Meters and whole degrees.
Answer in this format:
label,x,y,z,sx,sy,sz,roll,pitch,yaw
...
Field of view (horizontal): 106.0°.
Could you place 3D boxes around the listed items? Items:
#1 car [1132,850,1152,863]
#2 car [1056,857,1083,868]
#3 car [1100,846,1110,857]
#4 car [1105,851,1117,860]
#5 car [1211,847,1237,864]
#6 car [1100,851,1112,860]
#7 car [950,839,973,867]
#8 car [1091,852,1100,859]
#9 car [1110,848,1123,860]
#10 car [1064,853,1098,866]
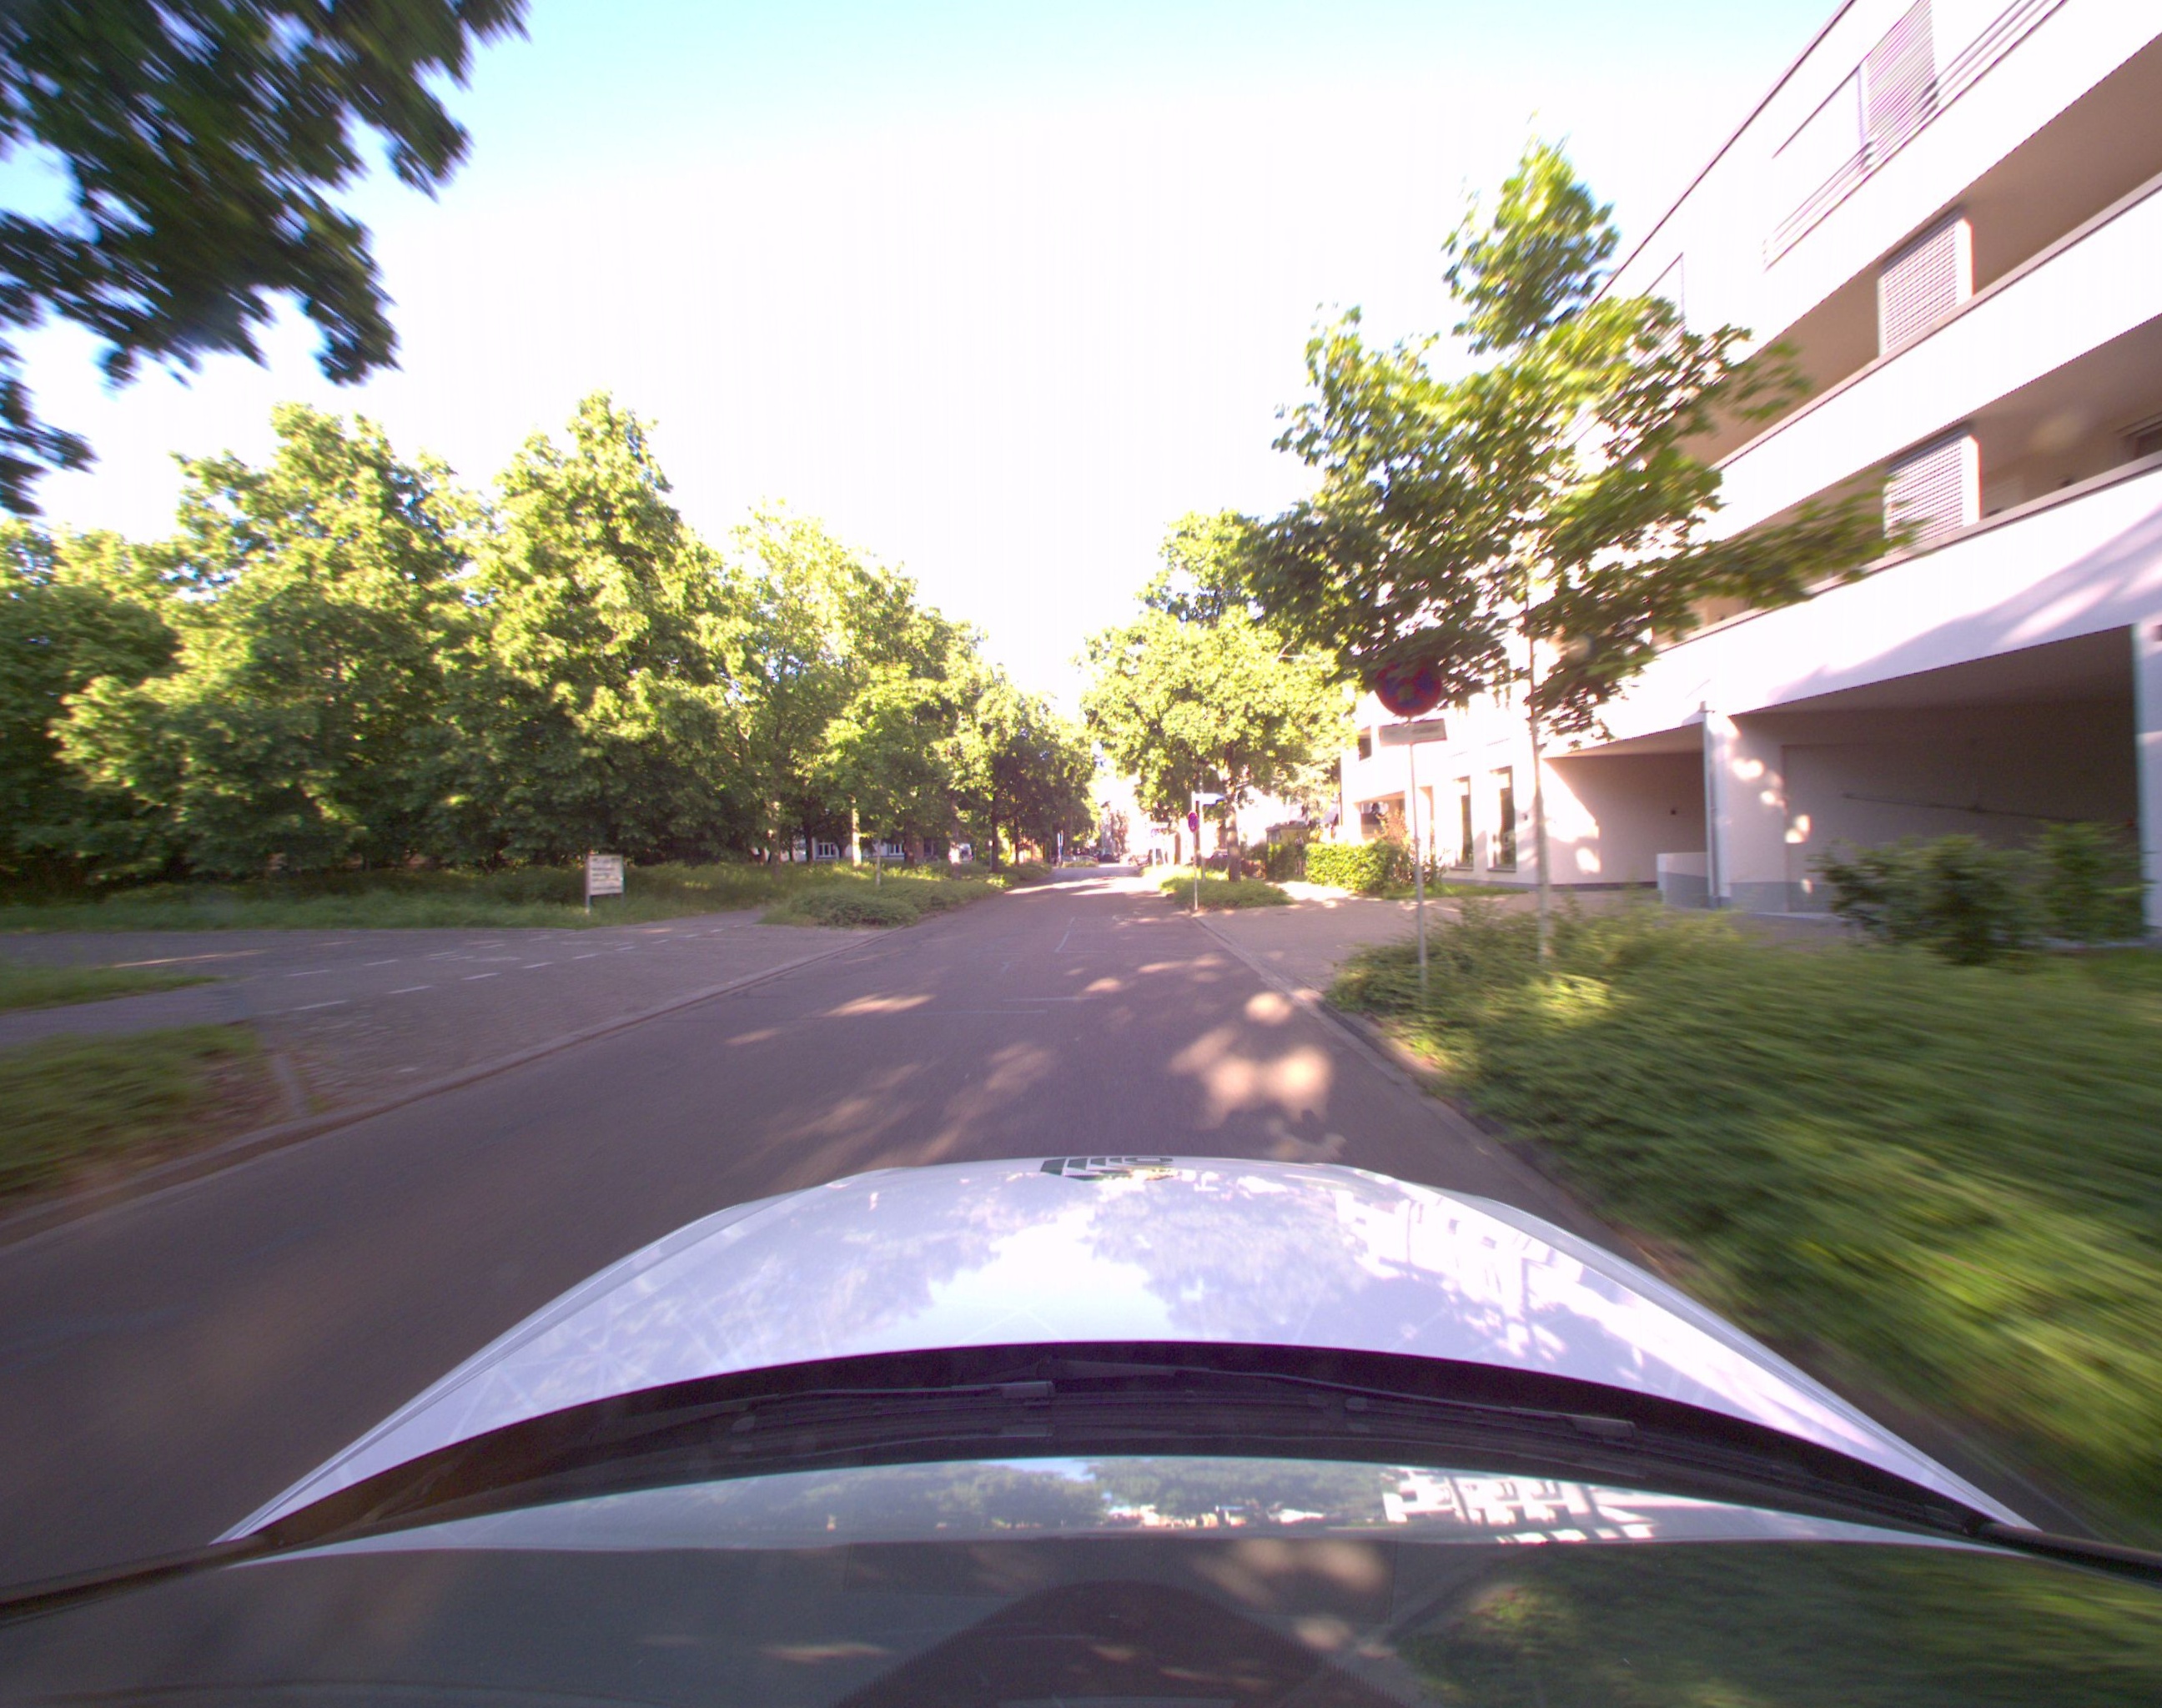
label,x,y,z,sx,sy,sz,roll,pitch,yaw
car,7.407,0.292,99.600,1.808,1.501,3.993,-2,0,-5
car,-1.602,1.115,110.215,3.583,1.510,1.497,0,0,-6
car,4.491,-0.400,153.444,1.806,2.050,3.998,0,0,-1
car,5.018,0.239,136.681,1.806,1.501,3.998,0,0,-1
car,13.930,0.164,79.671,1.986,1.585,3.641,0,0,2
car,4.421,0.249,143.287,1.806,1.501,3.998,0,0,-1
car,-11.264,-0.093,76.792,1.991,2.508,3.991,0,0,-7
car,2.962,0.261,170.477,1.806,1.501,3.998,0,0,-1
car,5.530,0.032,128.523,1.806,1.925,3.998,0,0,-1
car,-0.006,0.641,97.945,3.982,1.501,1.813,0,0,-6
